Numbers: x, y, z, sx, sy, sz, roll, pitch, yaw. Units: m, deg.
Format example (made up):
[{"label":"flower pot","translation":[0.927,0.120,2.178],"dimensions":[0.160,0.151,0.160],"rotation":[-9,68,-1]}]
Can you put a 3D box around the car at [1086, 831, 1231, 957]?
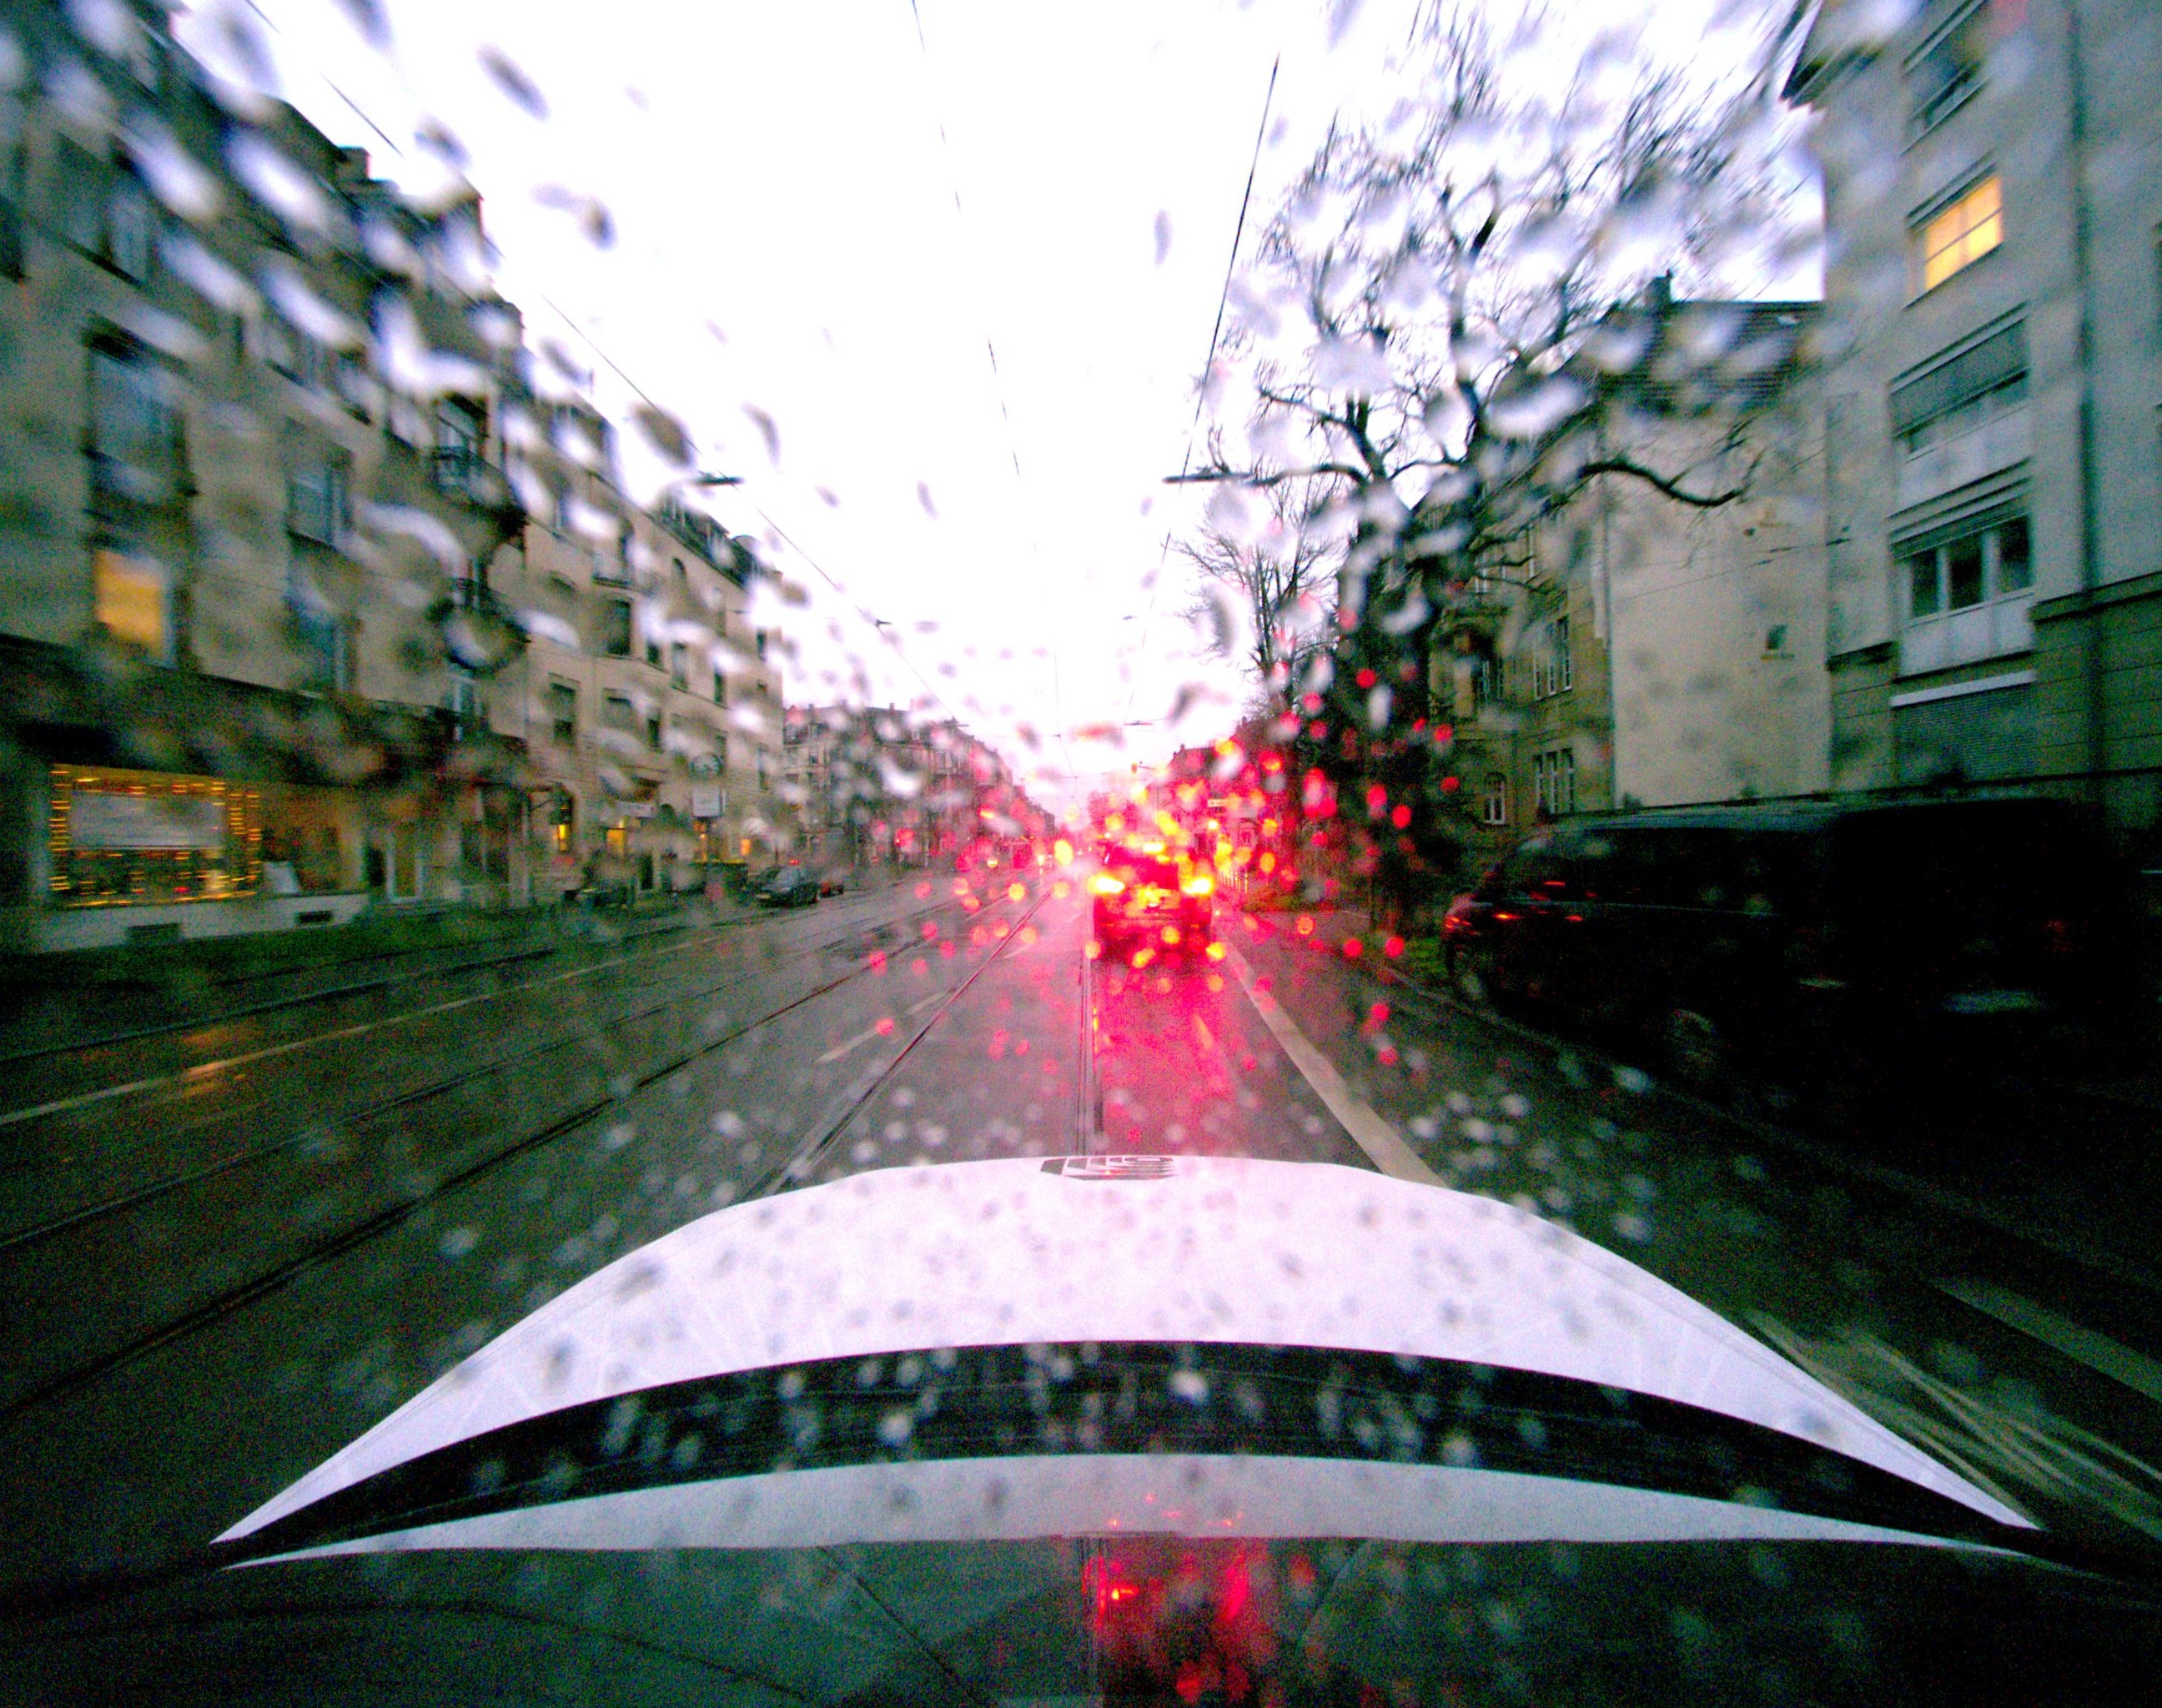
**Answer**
[{"label":"car","translation":[1.256,0.567,14.271],"dimensions":[2.095,1.816,4.664],"rotation":[1,0,3]}]

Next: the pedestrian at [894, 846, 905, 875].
[{"label":"pedestrian","translation":[-12.957,0.478,58.131],"dimensions":[0.706,2.013,0.656],"rotation":[-1,0,-19]}]

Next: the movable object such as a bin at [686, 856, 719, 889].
[{"label":"movable object such as a bin","translation":[-16.159,0.791,34.784],"dimensions":[0.896,1.377,1.007],"rotation":[-1,0,1]}]

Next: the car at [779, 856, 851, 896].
[{"label":"car","translation":[-11.603,0.922,35.818],"dimensions":[2.034,1.551,4.026],"rotation":[2,1,-4]}]

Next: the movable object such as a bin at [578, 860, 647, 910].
[{"label":"movable object such as a bin","translation":[-13.826,0.893,24.078],"dimensions":[1.263,1.420,1.250],"rotation":[-1,0,1]}]

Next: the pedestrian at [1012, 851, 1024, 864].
[{"label":"pedestrian","translation":[-5.886,0.324,75.815],"dimensions":[1.043,1.200,0.885],"rotation":[0,-1,1]}]

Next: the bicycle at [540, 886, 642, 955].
[{"label":"bicycle","translation":[-9.039,1.199,15.129],"dimensions":[0.621,1.092,1.949],"rotation":[-1,0,3]}]

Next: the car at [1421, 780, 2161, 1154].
[{"label":"car","translation":[4.843,0.563,6.698],"dimensions":[2.024,1.875,4.964],"rotation":[-2,0,1]}]

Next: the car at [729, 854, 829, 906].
[{"label":"car","translation":[-10.989,0.915,30.031],"dimensions":[1.981,1.645,4.627],"rotation":[4,-1,-2]}]

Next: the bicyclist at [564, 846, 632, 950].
[{"label":"bicyclist","translation":[-9.032,0.803,15.262],"dimensions":[0.621,1.876,0.992],"rotation":[-1,0,3]}]

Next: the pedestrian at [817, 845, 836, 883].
[{"label":"pedestrian","translation":[-13.758,0.537,44.015],"dimensions":[0.748,2.014,0.652],"rotation":[-1,-1,37]}]

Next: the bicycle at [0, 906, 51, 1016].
[{"label":"bicycle","translation":[-12.353,1.103,8.504],"dimensions":[2.340,1.105,0.695],"rotation":[1,0,1]}]

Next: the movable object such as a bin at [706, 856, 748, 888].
[{"label":"movable object such as a bin","translation":[-15.651,0.768,36.069],"dimensions":[1.289,1.367,1.252],"rotation":[-1,0,0]}]
